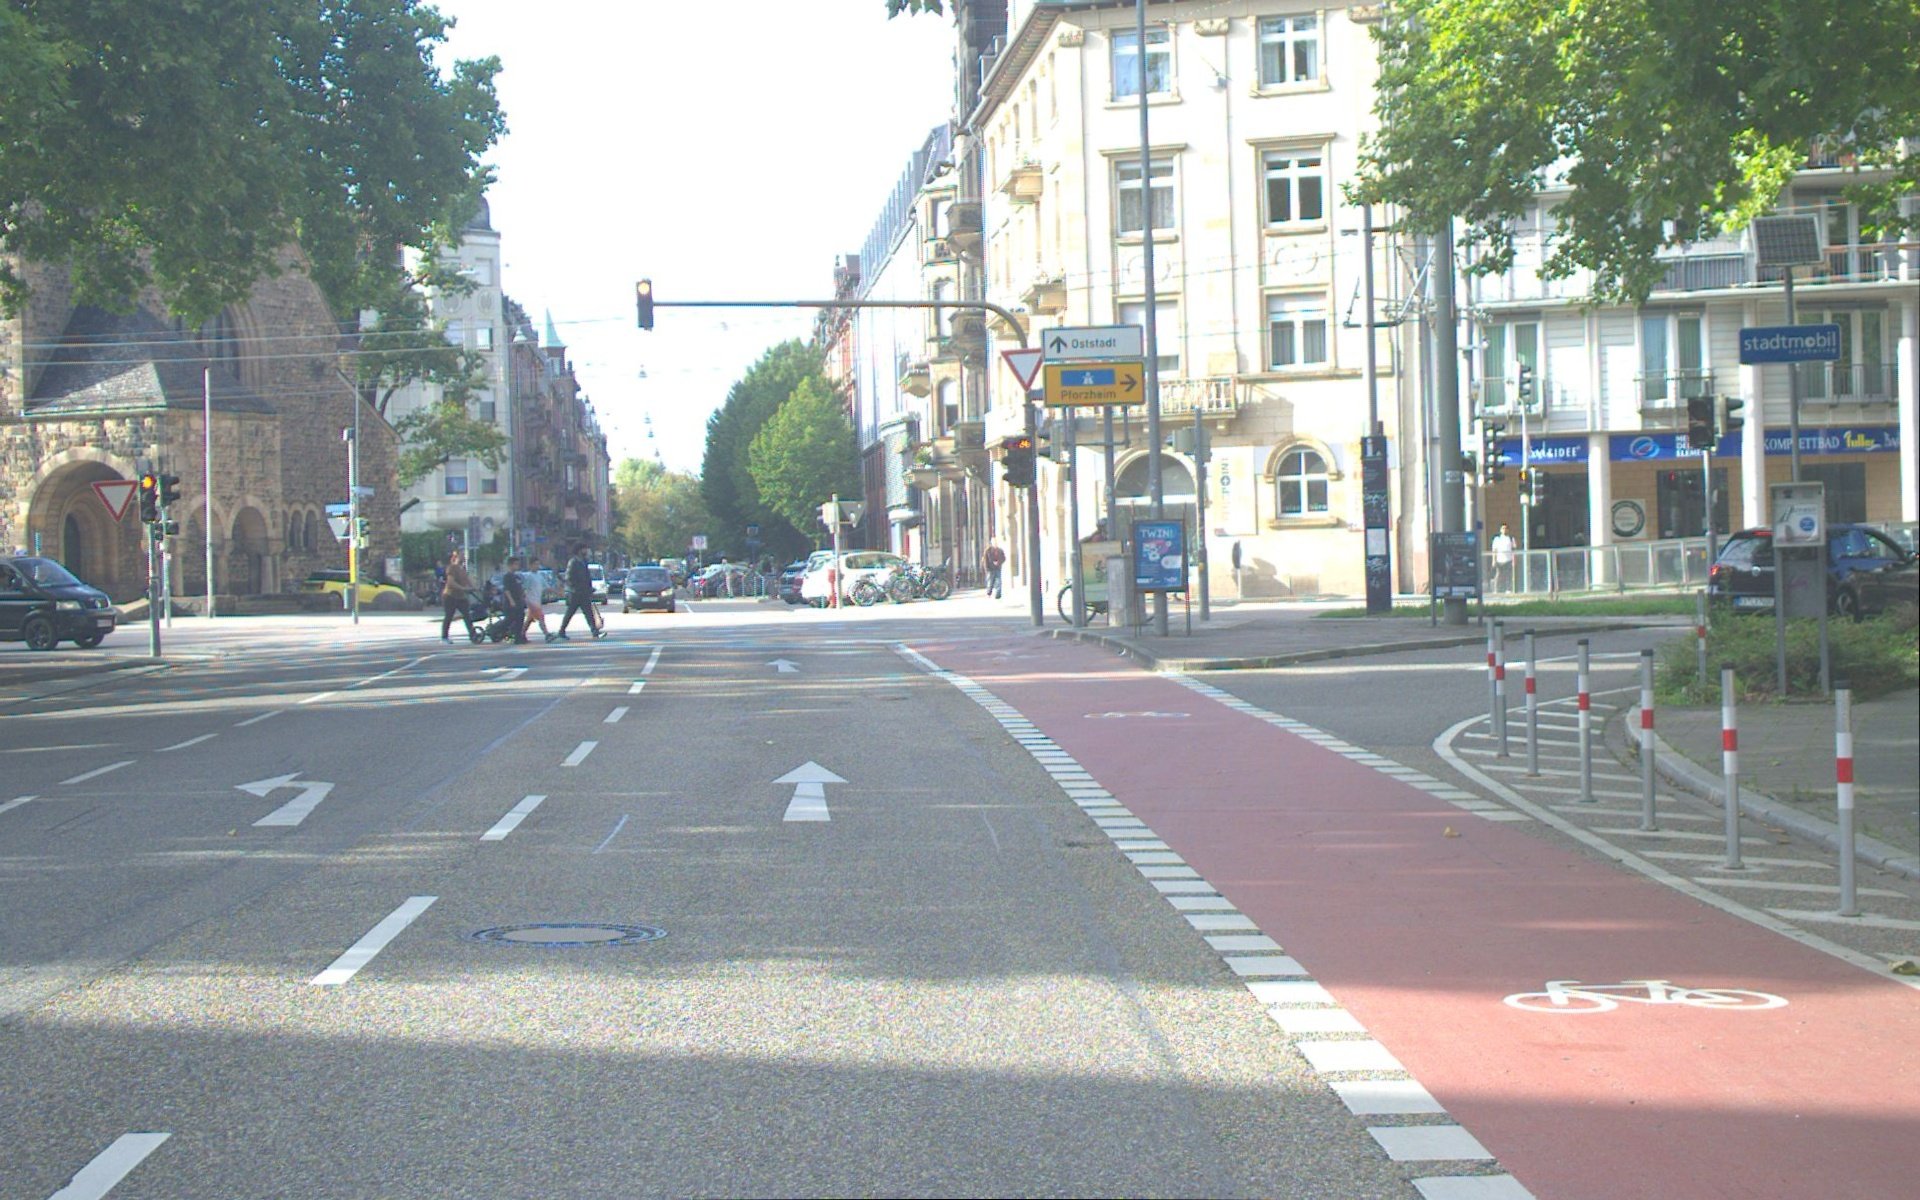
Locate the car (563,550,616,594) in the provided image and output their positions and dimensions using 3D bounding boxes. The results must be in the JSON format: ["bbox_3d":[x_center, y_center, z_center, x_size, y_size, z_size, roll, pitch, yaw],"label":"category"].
[{"bbox_3d":[-15.233,-1.141,141.549,1.949,1.744,4.001,-2,0,-4],"label":"car"}]

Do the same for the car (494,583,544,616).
[{"bbox_3d":[-17.269,-0.044,134.616,1.550,1.225,3.588,-1,1,-1],"label":"car"}]

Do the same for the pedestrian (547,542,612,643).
[{"bbox_3d":[-6.365,-0.129,57.529,0.781,1.656,0.778,-1,1,19],"label":"pedestrian"}]

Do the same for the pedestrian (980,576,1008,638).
[{"bbox_3d":[0.911,0.187,91.994,0.562,1.618,0.600,-1,0,18],"label":"pedestrian"}]

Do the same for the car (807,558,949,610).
[{"bbox_3d":[-2.441,-0.479,101.889,3.986,1.415,2.000,-2,1,-7],"label":"car"}]

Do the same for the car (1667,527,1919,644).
[{"bbox_3d":[10.887,-0.204,43.864,1.756,1.409,3.990,0,1,45],"label":"car"}]

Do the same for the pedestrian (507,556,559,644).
[{"bbox_3d":[-7.059,-0.001,56.801,0.655,1.427,0.498,-1,1,19],"label":"pedestrian"}]

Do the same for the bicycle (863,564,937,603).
[{"bbox_3d":[-1.737,-0.474,99.561,2.022,1.078,0.620,-2,1,-13],"label":"bicycle"}]

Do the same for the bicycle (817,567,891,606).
[{"bbox_3d":[-3.074,-0.393,99.432,2.022,1.078,0.620,-2,1,-13],"label":"bicycle"}]

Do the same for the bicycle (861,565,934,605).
[{"bbox_3d":[-1.822,-0.443,100.242,2.022,1.078,0.631,-2,1,-13],"label":"bicycle"}]

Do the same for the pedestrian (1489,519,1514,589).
[{"bbox_3d":[13.233,-1.121,84.030,0.496,1.708,0.526,1,0,21],"label":"pedestrian"}]

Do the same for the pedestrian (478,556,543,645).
[{"bbox_3d":[-7.353,0.001,56.233,0.781,1.427,0.730,-1,1,19],"label":"pedestrian"}]

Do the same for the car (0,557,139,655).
[{"bbox_3d":[-19.275,0.141,69.352,4.847,1.864,2.030,-1,1,16],"label":"car"}]

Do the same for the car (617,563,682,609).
[{"bbox_3d":[-9.844,-0.473,109.273,1.949,1.367,4.001,-2,1,-4],"label":"car"}]

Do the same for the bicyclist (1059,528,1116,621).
[{"bbox_3d":[2.184,-0.435,58.895,0.779,1.574,0.625,-1,1,22],"label":"bicyclist"}]

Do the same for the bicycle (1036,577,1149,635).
[{"bbox_3d":[2.270,0.101,58.857,1.832,0.952,0.572,-1,1,23],"label":"bicycle"}]

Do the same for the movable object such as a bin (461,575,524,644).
[{"bbox_3d":[-7.839,0.159,57.658,0.838,1.120,0.575,-1,1,20],"label":"movable object such as a bin"}]

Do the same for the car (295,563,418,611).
[{"bbox_3d":[-21.905,-0.476,124.896,3.989,1.590,1.868,-2,1,-42],"label":"car"}]
